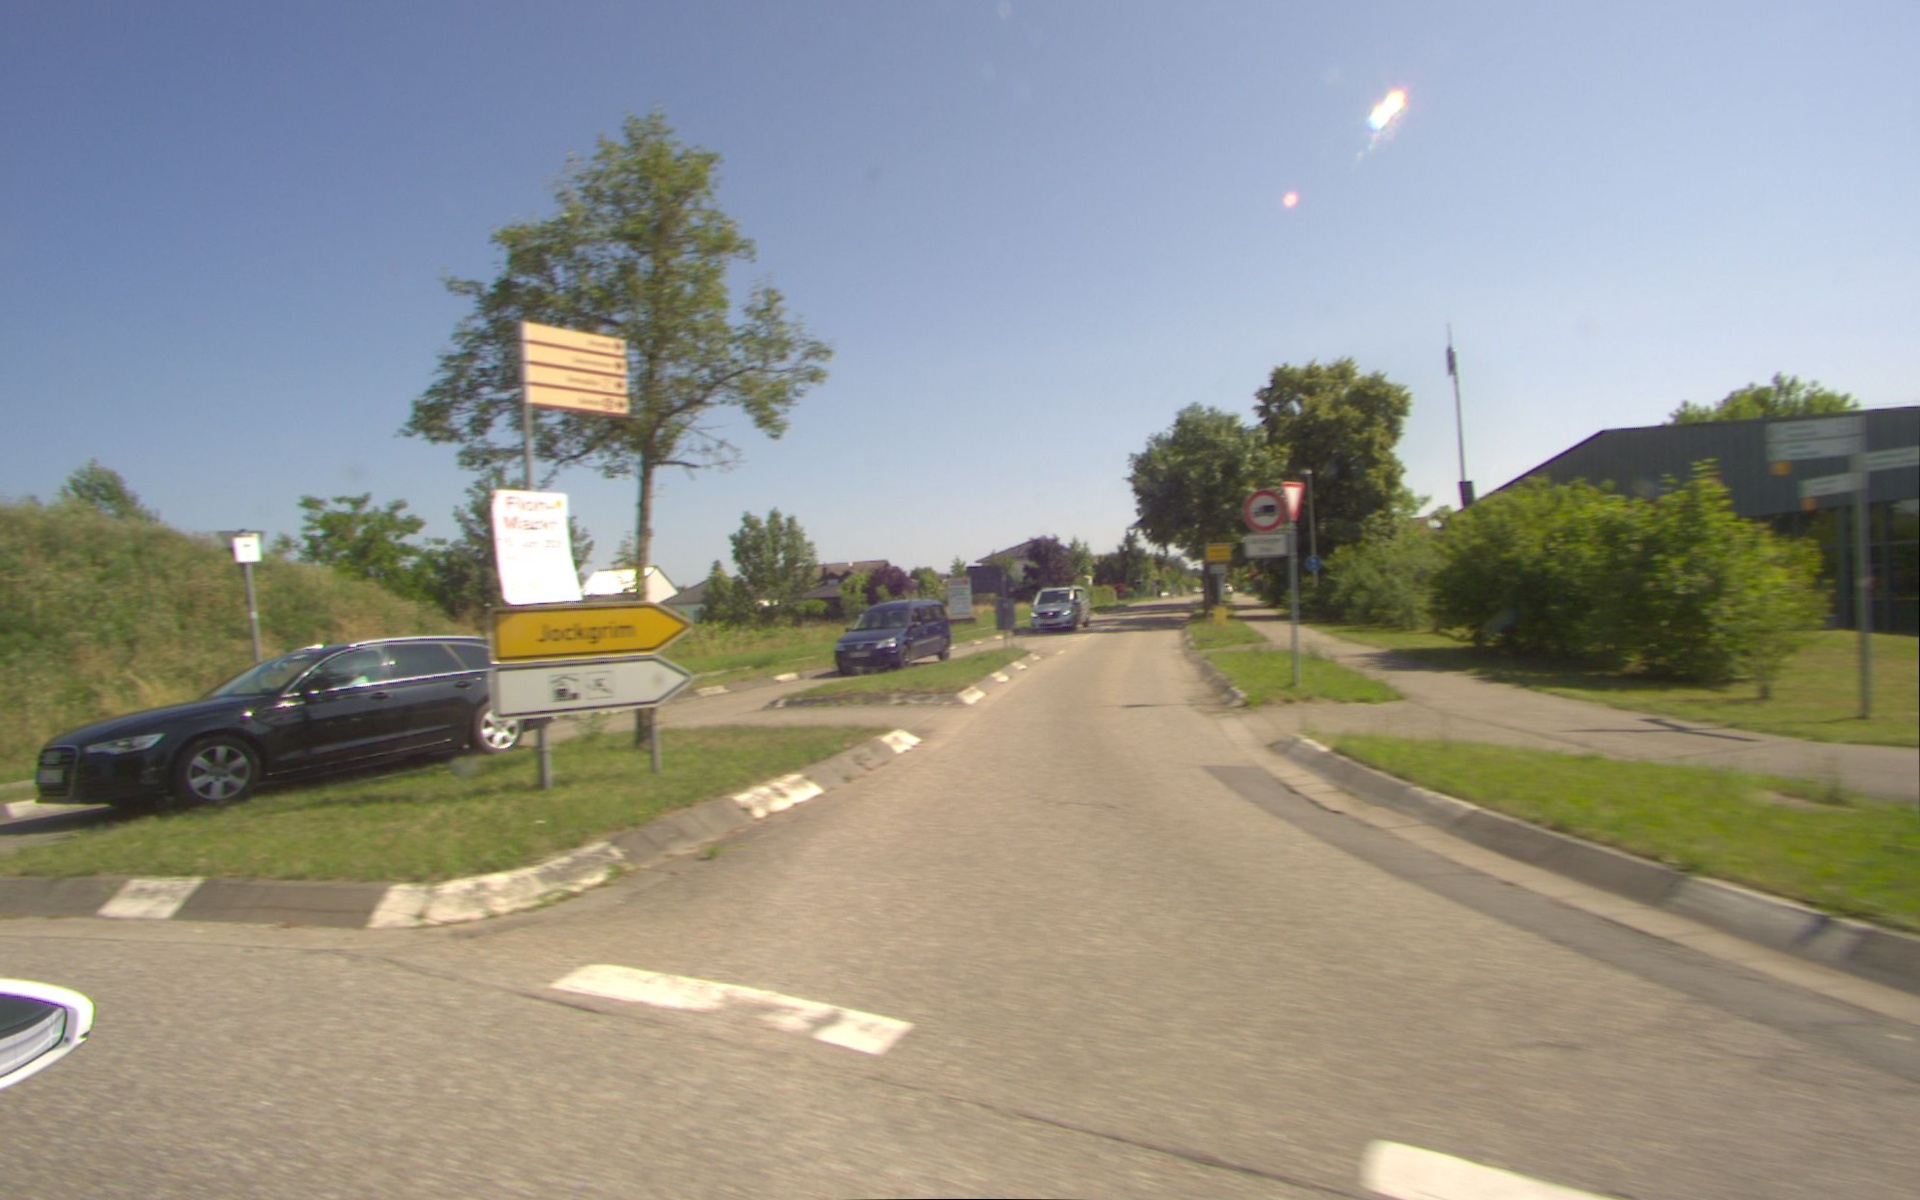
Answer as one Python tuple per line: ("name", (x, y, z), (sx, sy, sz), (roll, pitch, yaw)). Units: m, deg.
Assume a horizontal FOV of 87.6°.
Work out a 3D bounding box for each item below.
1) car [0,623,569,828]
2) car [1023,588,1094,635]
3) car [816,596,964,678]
("car", (-6.879, 1.154, 10.740), (1.895, 1.452, 4.891), (-5, -1, 27))
("car", (4.343, 0.446, 43.421), (1.964, 1.840, 5.191), (-2, 0, 17))
("car", (-1.578, 0.832, 24.645), (1.786, 1.661, 4.645), (-6, -1, 20))
